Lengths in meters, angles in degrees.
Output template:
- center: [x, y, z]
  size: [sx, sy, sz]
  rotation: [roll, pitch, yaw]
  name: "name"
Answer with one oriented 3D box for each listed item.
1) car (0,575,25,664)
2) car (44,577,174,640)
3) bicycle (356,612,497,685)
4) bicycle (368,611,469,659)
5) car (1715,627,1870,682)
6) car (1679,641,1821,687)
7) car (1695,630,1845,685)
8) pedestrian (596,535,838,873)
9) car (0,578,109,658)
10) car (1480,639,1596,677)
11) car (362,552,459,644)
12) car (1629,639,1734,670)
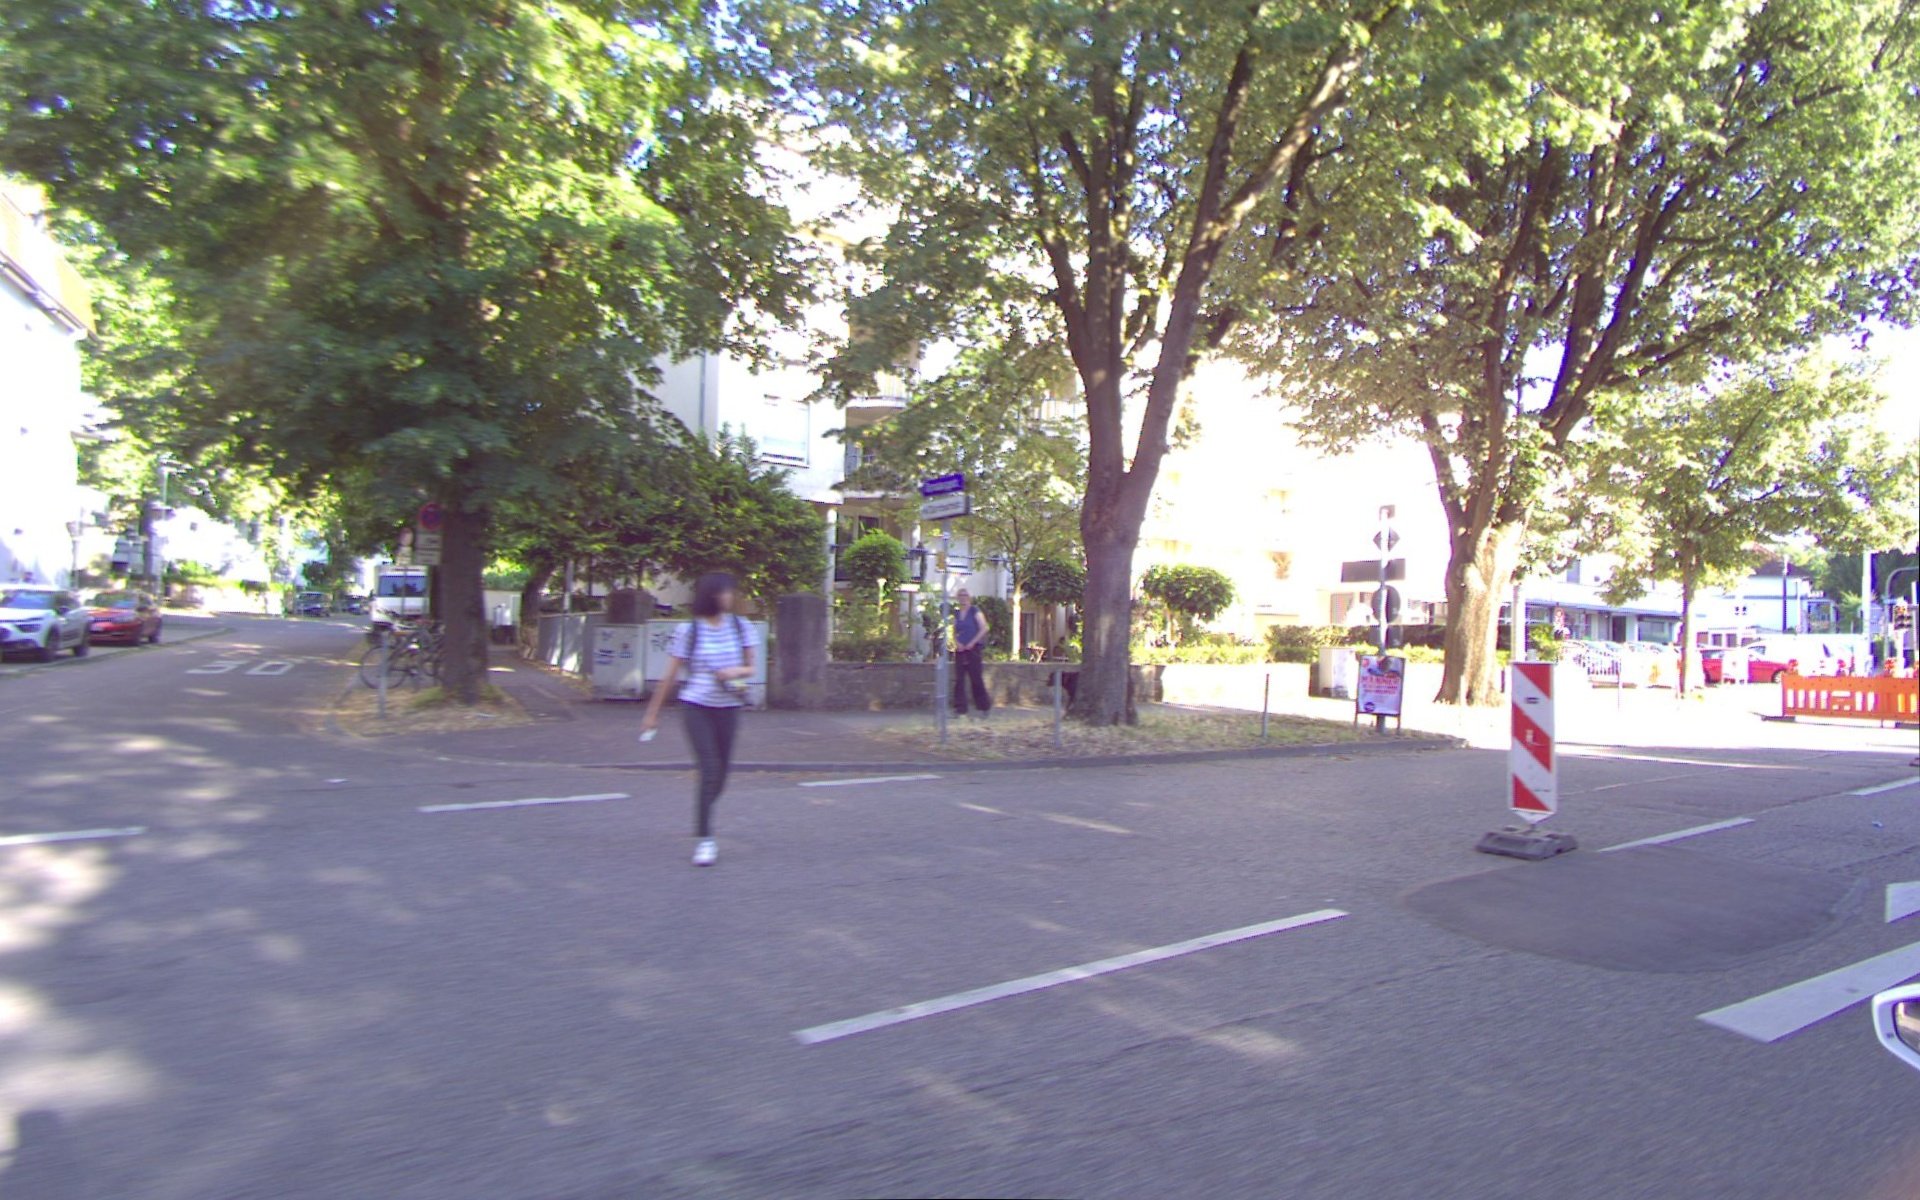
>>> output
- center: [-16.715, 0.282, 15.866]
  size: [1.978, 1.505, 3.967]
  rotation: [3, -2, -31]
  name: "car"
- center: [-22.724, 0.241, 26.990]
  size: [1.978, 1.505, 3.967]
  rotation: [3, -2, -31]
  name: "car"
- center: [-8.646, 0.794, 16.376]
  size: [1.905, 1.091, 0.744]
  rotation: [3, 0, -22]
  name: "bicycle"
- center: [-12.900, 0.827, 24.008]
  size: [1.901, 1.023, 0.926]
  rotation: [3, 0, -13]
  name: "bicycle"
- center: [35.056, 2.260, 42.411]
  size: [2.096, 1.991, 4.636]
  rotation: [3, 0, -35]
  name: "car"
- center: [30.748, 2.471, 39.164]
  size: [1.982, 1.498, 3.961]
  rotation: [3, -1, -37]
  name: "car"
- center: [32.738, 2.288, 40.725]
  size: [1.977, 1.876, 4.292]
  rotation: [3, 0, -30]
  name: "car"
- center: [-1.495, 0.581, 6.082]
  size: [1.176, 1.805, 1.040]
  rotation: [3, -1, -25]
  name: "pedestrian"
- center: [-19.246, 0.344, 20.653]
  size: [1.978, 1.505, 3.967]
  rotation: [3, -2, -31]
  name: "car"
- center: [26.951, 2.677, 46.977]
  size: [1.977, 1.417, 4.291]
  rotation: [3, 0, -31]
  name: "car"
- center: [-17.531, -0.008, 31.909]
  size: [2.430, 2.599, 5.209]
  rotation: [3, -2, -31]
  name: "car"
- center: [39.708, 2.985, 55.386]
  size: [1.970, 1.417, 4.308]
  rotation: [3, 0, -19]
  name: "car"
